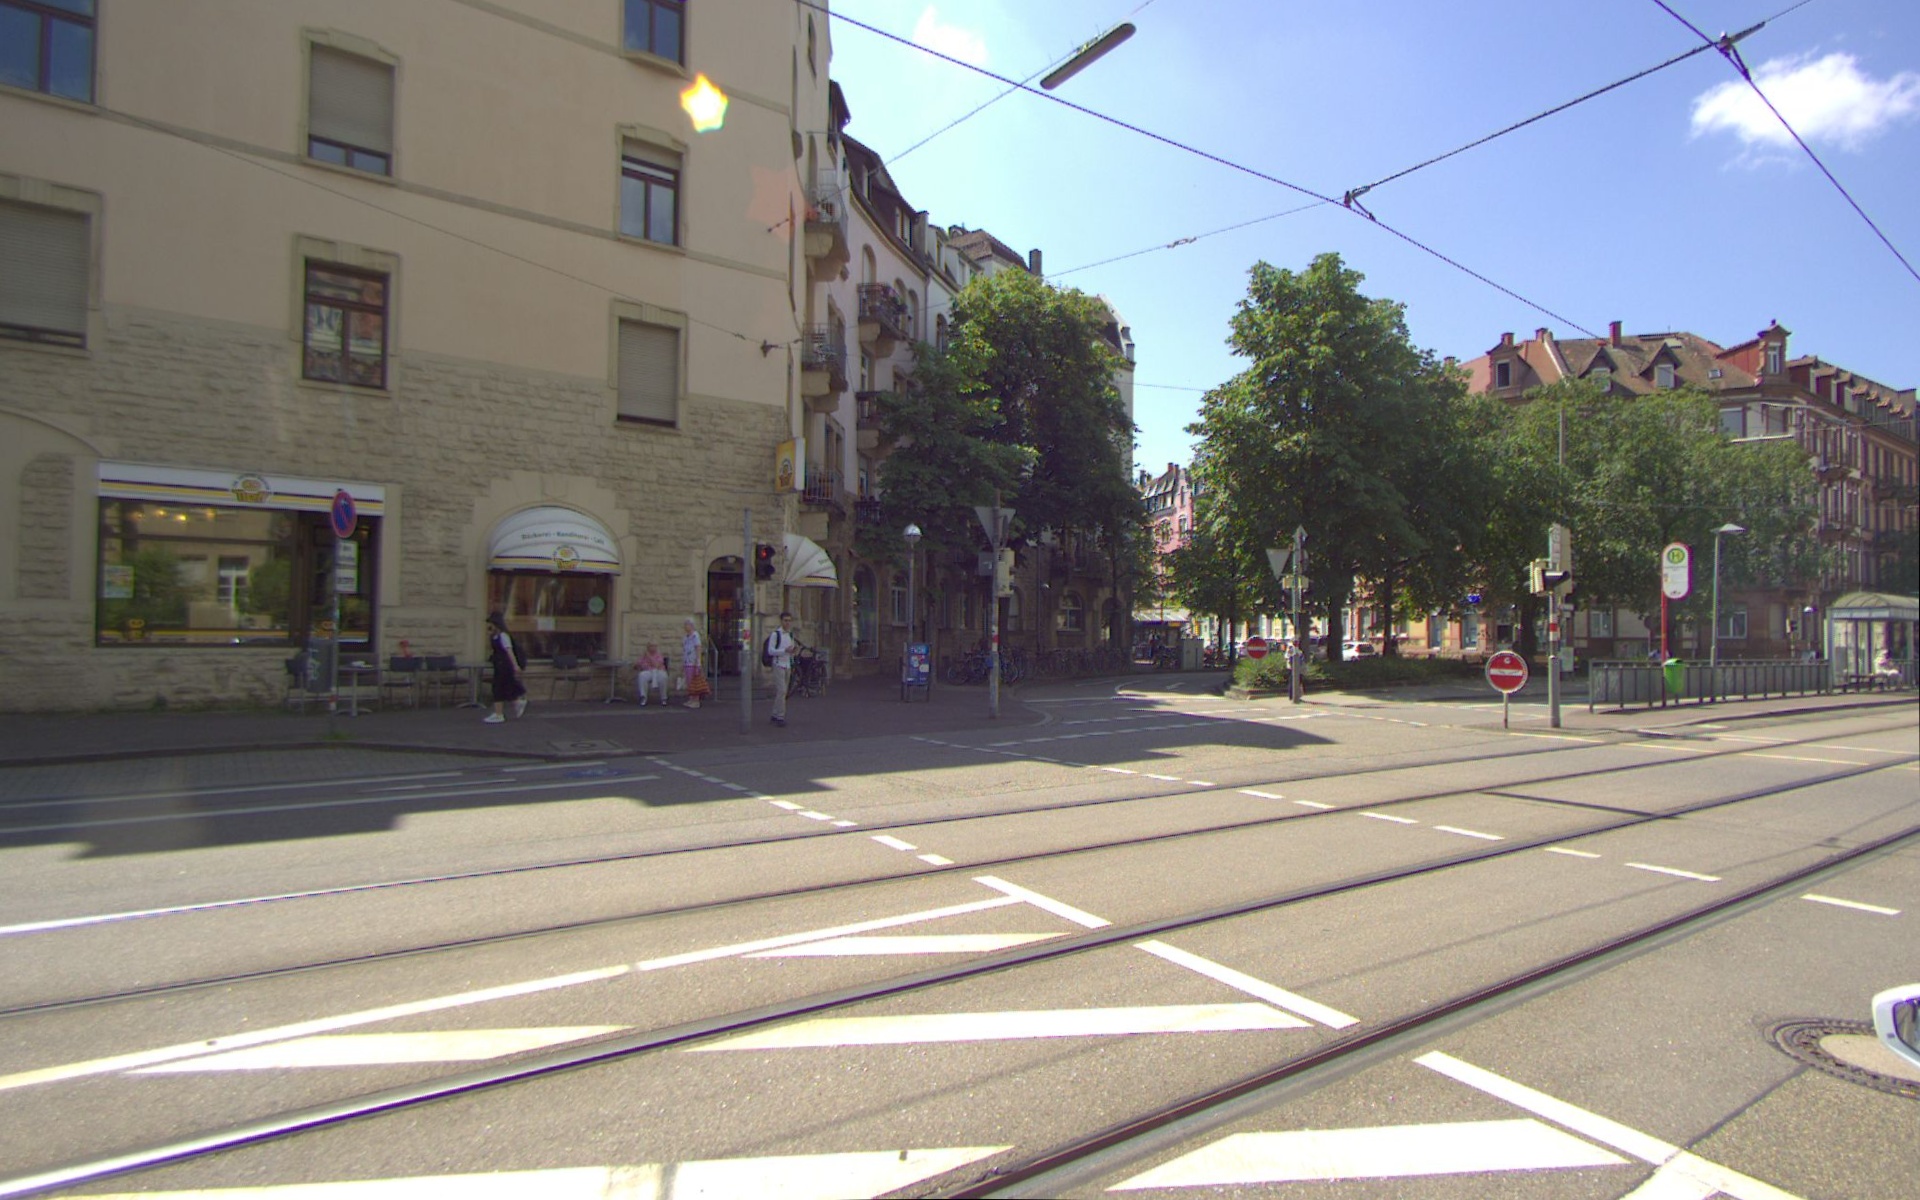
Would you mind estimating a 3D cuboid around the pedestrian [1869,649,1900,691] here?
[{"bbox_3d":[28.164,2.128,30.591,0.623,1.259,0.608,2,-2,-40],"label":"pedestrian"}]

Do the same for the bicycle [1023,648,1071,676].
[{"bbox_3d":[3.419,2.426,39.575,1.824,1.046,0.543,-1,-2,34],"label":"bicycle"}]

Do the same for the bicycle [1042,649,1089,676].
[{"bbox_3d":[4.229,2.492,40.334,1.825,1.046,0.543,-1,-2,34],"label":"bicycle"}]

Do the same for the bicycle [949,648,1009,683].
[{"bbox_3d":[0.571,2.022,31.005,1.819,1.046,0.544,1,-2,-2],"label":"bicycle"}]

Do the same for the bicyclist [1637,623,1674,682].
[{"bbox_3d":[22.682,1.703,32.750,0.817,1.895,0.718,2,-2,-34],"label":"bicyclist"}]

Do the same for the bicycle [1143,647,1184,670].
[{"bbox_3d":[9.769,2.789,48.235,1.824,1.046,0.543,-1,-2,33],"label":"bicycle"}]

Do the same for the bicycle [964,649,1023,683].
[{"bbox_3d":[1.069,2.103,32.306,1.818,1.046,0.545,0,-2,16],"label":"bicycle"}]

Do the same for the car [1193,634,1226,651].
[{"bbox_3d":[22.323,3.811,90.042,1.654,1.491,3.466,1,-2,-10],"label":"car"}]

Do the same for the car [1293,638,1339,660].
[{"bbox_3d":[25.768,3.517,72.747,1.654,1.491,3.466,1,-2,-10],"label":"car"}]

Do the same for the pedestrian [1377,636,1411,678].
[{"bbox_3d":[19.549,2.564,45.285,1.001,1.893,0.999,1,-2,-16],"label":"pedestrian"}]

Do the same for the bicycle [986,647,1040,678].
[{"bbox_3d":[1.846,2.148,34.746,1.818,1.046,0.545,0,-2,5],"label":"bicycle"}]

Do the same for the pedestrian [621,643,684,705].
[{"bbox_3d":[-5.652,1.341,18.422,0.874,1.092,0.910,2,-2,-34],"label":"pedestrian"}]

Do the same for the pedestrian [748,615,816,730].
[{"bbox_3d":[-2.850,1.132,16.030,0.767,1.755,0.855,2,-1,-33],"label":"pedestrian"}]

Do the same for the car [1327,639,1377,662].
[{"bbox_3d":[26.834,3.461,68.787,1.654,1.491,3.466,1,-2,-10],"label":"car"}]

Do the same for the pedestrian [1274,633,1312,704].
[{"bbox_3d":[8.389,1.709,25.310,0.824,1.745,0.918,0,-2,25],"label":"pedestrian"}]

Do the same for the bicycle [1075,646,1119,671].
[{"bbox_3d":[5.952,2.531,43.644,1.824,1.046,0.543,-1,-2,33],"label":"bicycle"}]

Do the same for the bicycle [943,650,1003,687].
[{"bbox_3d":[0.366,1.970,28.936,1.698,1.046,0.544,1,-2,-2],"label":"bicycle"}]

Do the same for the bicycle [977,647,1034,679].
[{"bbox_3d":[1.537,2.113,33.852,1.818,1.046,0.545,0,-2,12],"label":"bicycle"}]

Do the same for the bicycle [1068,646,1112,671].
[{"bbox_3d":[5.581,2.508,43.143,1.824,1.046,0.543,-1,-2,33],"label":"bicycle"}]

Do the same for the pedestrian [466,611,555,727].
[{"bbox_3d":[-6.809,1.021,15.213,1.017,1.657,0.854,2,0,-37],"label":"pedestrian"}]

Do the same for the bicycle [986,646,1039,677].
[{"bbox_3d":[1.858,2.162,35.385,1.818,1.046,0.545,0,-2,5],"label":"bicycle"}]

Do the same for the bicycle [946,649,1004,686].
[{"bbox_3d":[0.430,1.987,29.616,1.698,1.046,0.544,1,-2,-2],"label":"bicycle"}]

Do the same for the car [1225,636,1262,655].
[{"bbox_3d":[23.665,3.776,83.912,1.654,1.491,3.466,1,-2,-10],"label":"car"}]

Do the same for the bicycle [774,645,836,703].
[{"bbox_3d":[-3.209,1.534,20.901,0.533,1.143,1.684,0,-4,18],"label":"bicycle"}]

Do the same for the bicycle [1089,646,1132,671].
[{"bbox_3d":[6.669,2.572,44.420,1.824,1.046,0.543,-1,-2,33],"label":"bicycle"}]

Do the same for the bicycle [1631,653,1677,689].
[{"bbox_3d":[22.586,2.298,32.693,1.699,1.116,0.723,2,-2,-37],"label":"bicycle"}]

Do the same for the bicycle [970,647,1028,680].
[{"bbox_3d":[1.278,2.088,33.101,1.818,1.046,0.545,0,-2,15],"label":"bicycle"}]

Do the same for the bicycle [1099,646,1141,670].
[{"bbox_3d":[7.195,2.602,45.148,1.824,1.046,0.543,-1,-2,33],"label":"bicycle"}]

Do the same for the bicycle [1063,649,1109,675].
[{"bbox_3d":[5.201,2.548,41.453,1.825,1.046,0.543,-1,-2,34],"label":"bicycle"}]

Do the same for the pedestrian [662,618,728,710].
[{"bbox_3d":[-4.787,1.144,18.169,0.911,1.615,0.801,2,-2,-36],"label":"pedestrian"}]

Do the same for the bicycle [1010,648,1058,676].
[{"bbox_3d":[2.850,2.375,38.814,1.825,1.046,0.543,-1,-2,34],"label":"bicycle"}]

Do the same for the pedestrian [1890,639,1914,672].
[{"bbox_3d":[52.585,3.106,56.077,0.727,1.835,0.640,1,-2,-9],"label":"pedestrian"}]
